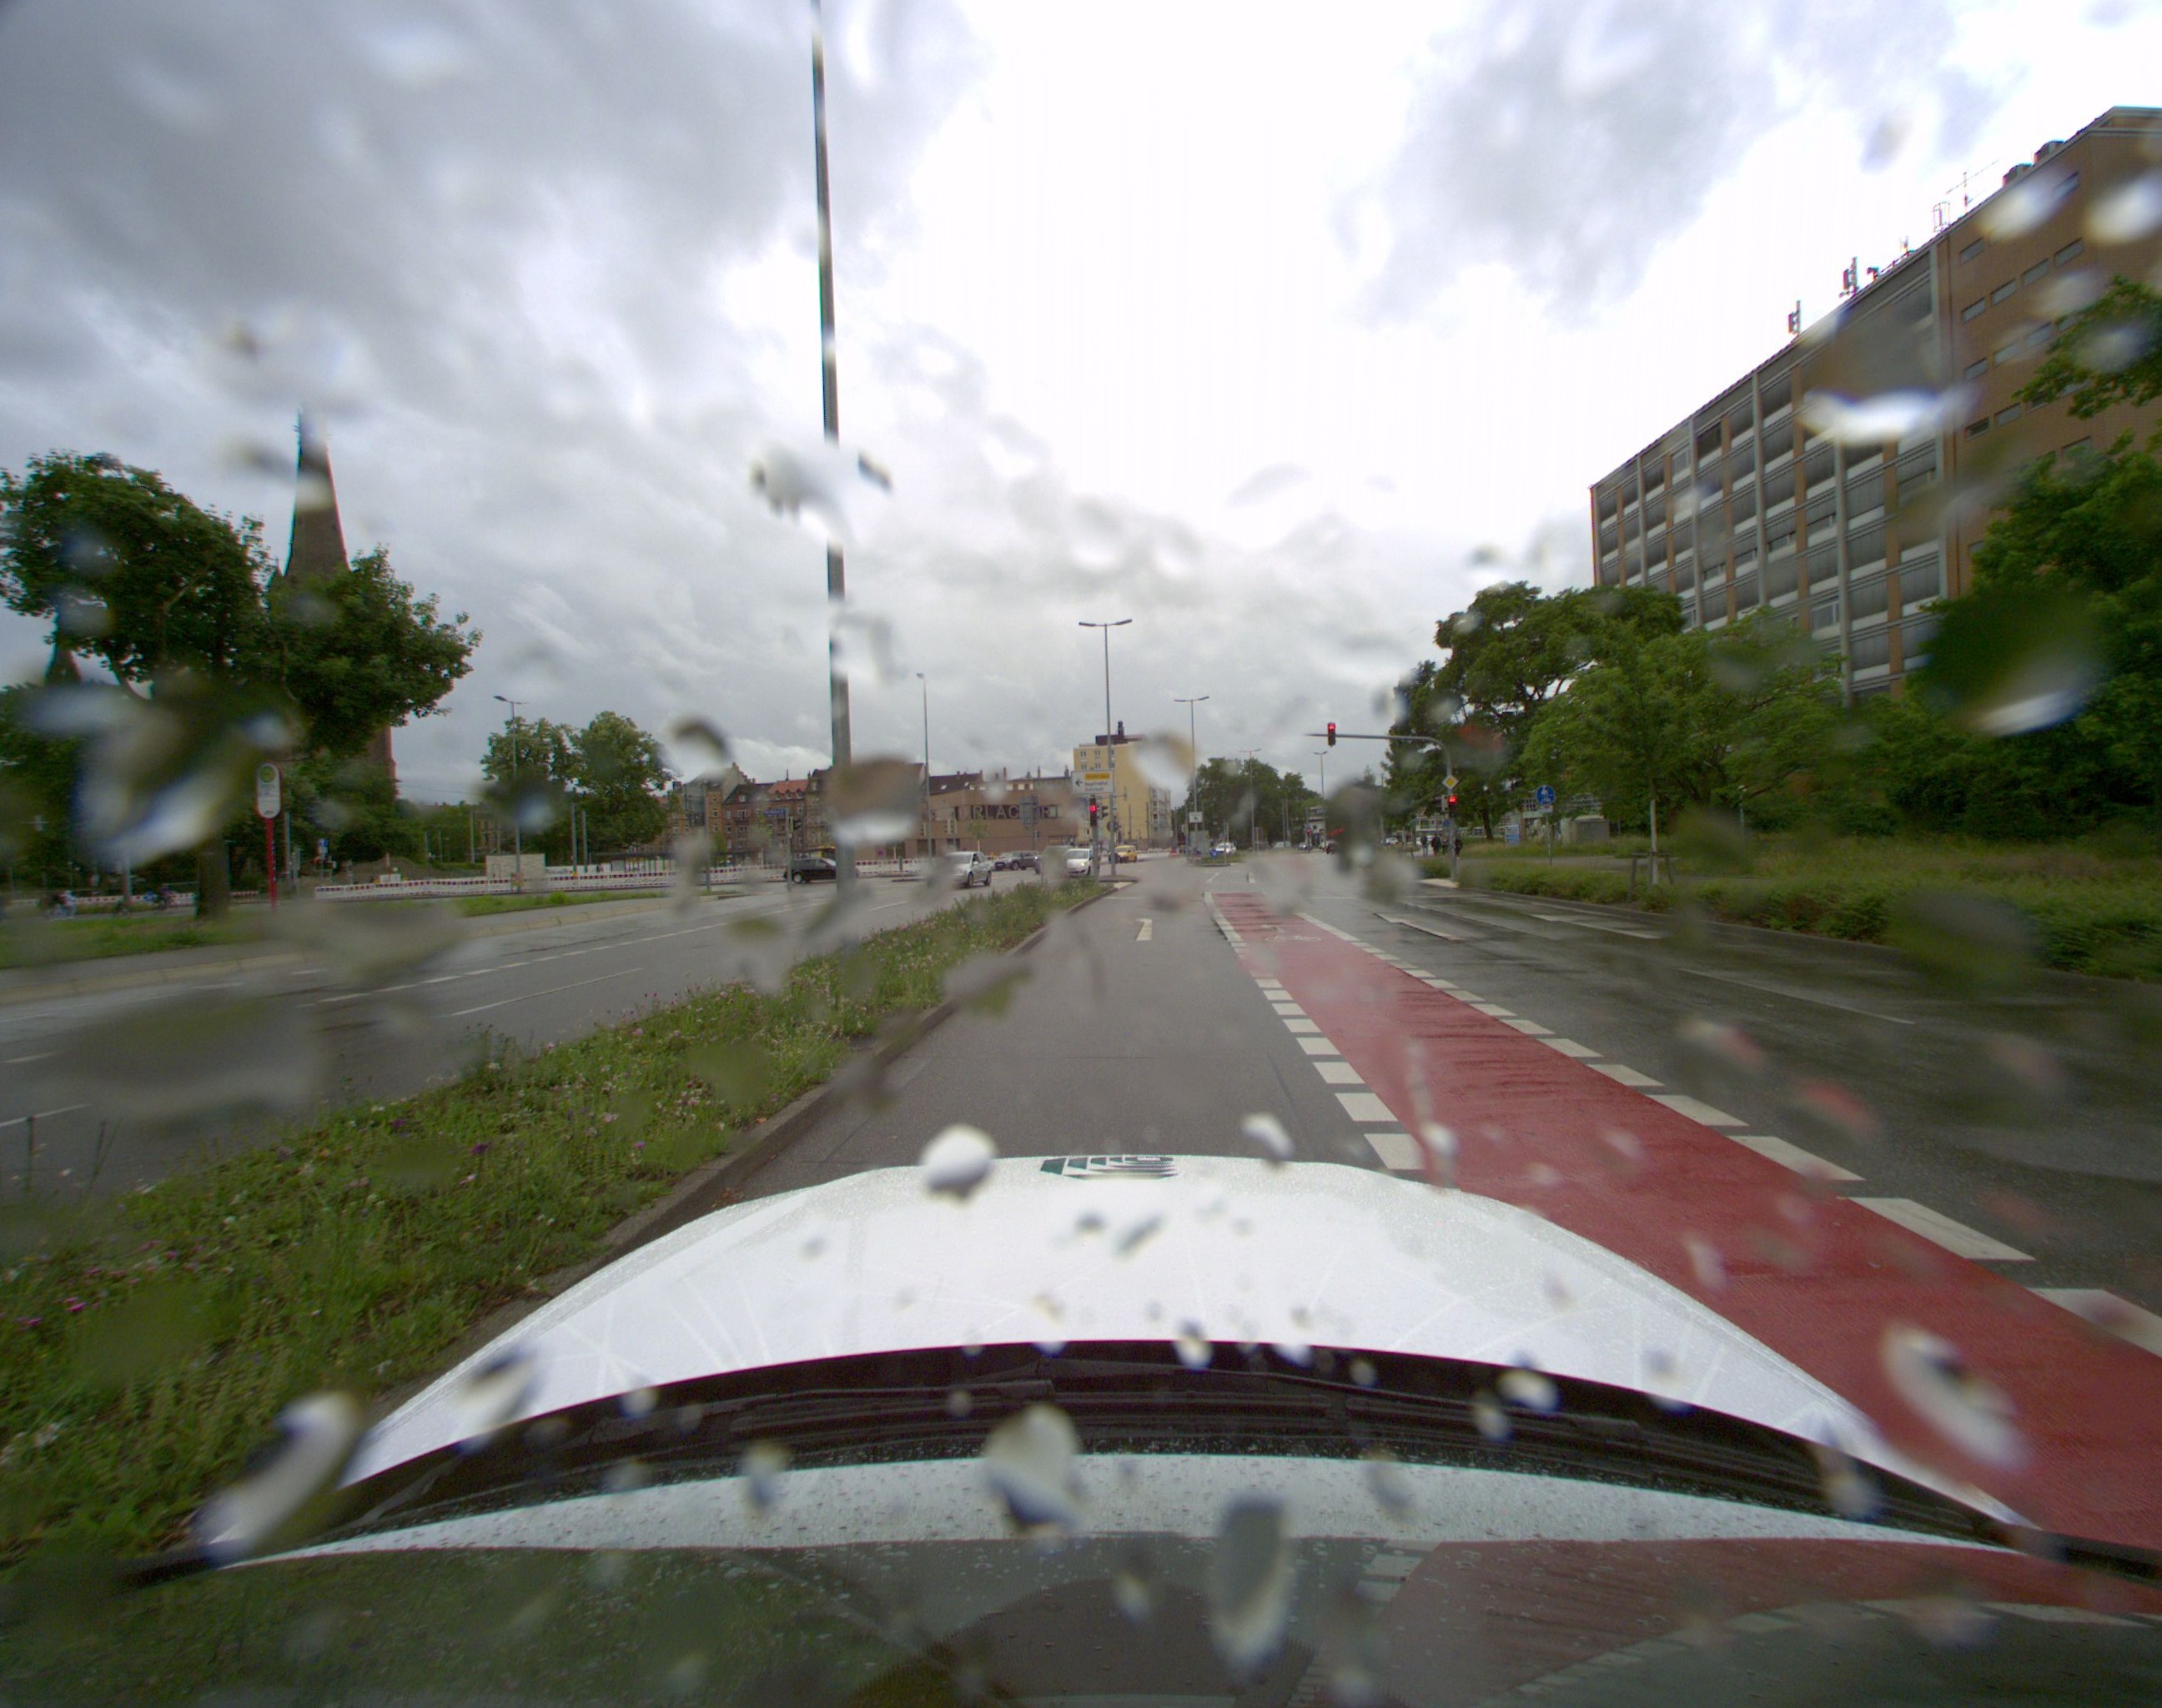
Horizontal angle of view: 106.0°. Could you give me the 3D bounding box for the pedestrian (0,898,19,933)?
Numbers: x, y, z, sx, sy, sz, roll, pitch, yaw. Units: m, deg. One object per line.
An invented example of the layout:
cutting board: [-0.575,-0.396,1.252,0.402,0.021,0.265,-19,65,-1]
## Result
pedestrian: [-61.159,3.505,46.319,0.602,1.890,0.602,-2,0,1]

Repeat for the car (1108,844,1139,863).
car: [4.269,-0.076,81.903,1.690,1.706,4.176,-2,0,24]

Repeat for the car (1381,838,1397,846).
car: [65.627,-2.503,173.624,1.773,1.643,4.424,-2,0,42]

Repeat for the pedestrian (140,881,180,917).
pedestrian: [-54.311,2.648,48.022,0.998,2.013,1.300,-2,0,-19]

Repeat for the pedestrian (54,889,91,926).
pedestrian: [-57.366,3.024,46.313,0.851,2.013,0.958,-2,0,7]

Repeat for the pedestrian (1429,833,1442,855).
pedestrian: [25.724,-0.711,59.095,0.697,1.588,0.941,-2,0,18]

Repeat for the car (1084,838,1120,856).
car: [4.139,-1.430,161.982,6.700,3.380,2.817,-2,0,10]

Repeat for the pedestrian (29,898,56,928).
pedestrian: [-55.503,3.146,43.533,0.678,1.500,0.765,-2,0,-38]

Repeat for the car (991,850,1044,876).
car: [-4.708,0.655,60.641,1.689,1.706,3.845,-2,0,38]

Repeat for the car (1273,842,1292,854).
car: [32.165,-0.958,129.832,1.677,1.690,4.211,-2,2,31]

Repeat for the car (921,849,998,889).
car: [-4.882,0.572,33.303,1.667,1.404,4.173,-3,0,13]

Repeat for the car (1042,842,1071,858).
car: [-5.011,-0.791,163.777,5.317,2.887,2.346,-2,0,10]

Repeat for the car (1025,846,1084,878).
car: [-1.519,0.449,49.098,1.978,1.636,4.624,-4,0,18]

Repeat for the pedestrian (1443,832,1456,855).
pedestrian: [26.662,-0.753,58.982,0.697,1.588,0.941,-2,0,18]

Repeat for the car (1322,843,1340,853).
car: [42.043,-1.024,136.896,1.677,1.415,4.212,-2,4,35]

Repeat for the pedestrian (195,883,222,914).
pedestrian: [-52.056,2.630,48.569,0.720,1.777,0.776,-2,0,7]

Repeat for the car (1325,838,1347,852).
car: [32.395,-1.135,103.545,1.773,1.643,4.185,-2,0,29]

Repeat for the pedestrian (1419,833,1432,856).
pedestrian: [24.872,-0.687,58.852,0.748,1.588,0.941,-2,0,18]

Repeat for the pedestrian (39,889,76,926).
pedestrian: [-58.333,3.048,46.408,0.851,2.013,0.958,-2,0,7]

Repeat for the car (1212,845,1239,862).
car: [16.626,-0.097,93.700,1.810,1.681,5.195,-4,0,23]

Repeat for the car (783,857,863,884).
car: [-15.394,0.975,48.642,4.176,1.402,1.618,-2,0,1]

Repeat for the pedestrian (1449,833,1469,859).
pedestrian: [23.913,-0.521,51.575,1.014,1.588,0.941,-2,0,17]

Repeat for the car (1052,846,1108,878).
car: [0.001,0.387,42.626,1.665,1.501,3.888,-3,0,19]

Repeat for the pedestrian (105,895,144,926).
pedestrian: [-52.515,3.089,44.741,0.933,1.539,1.053,-2,0,-19]
